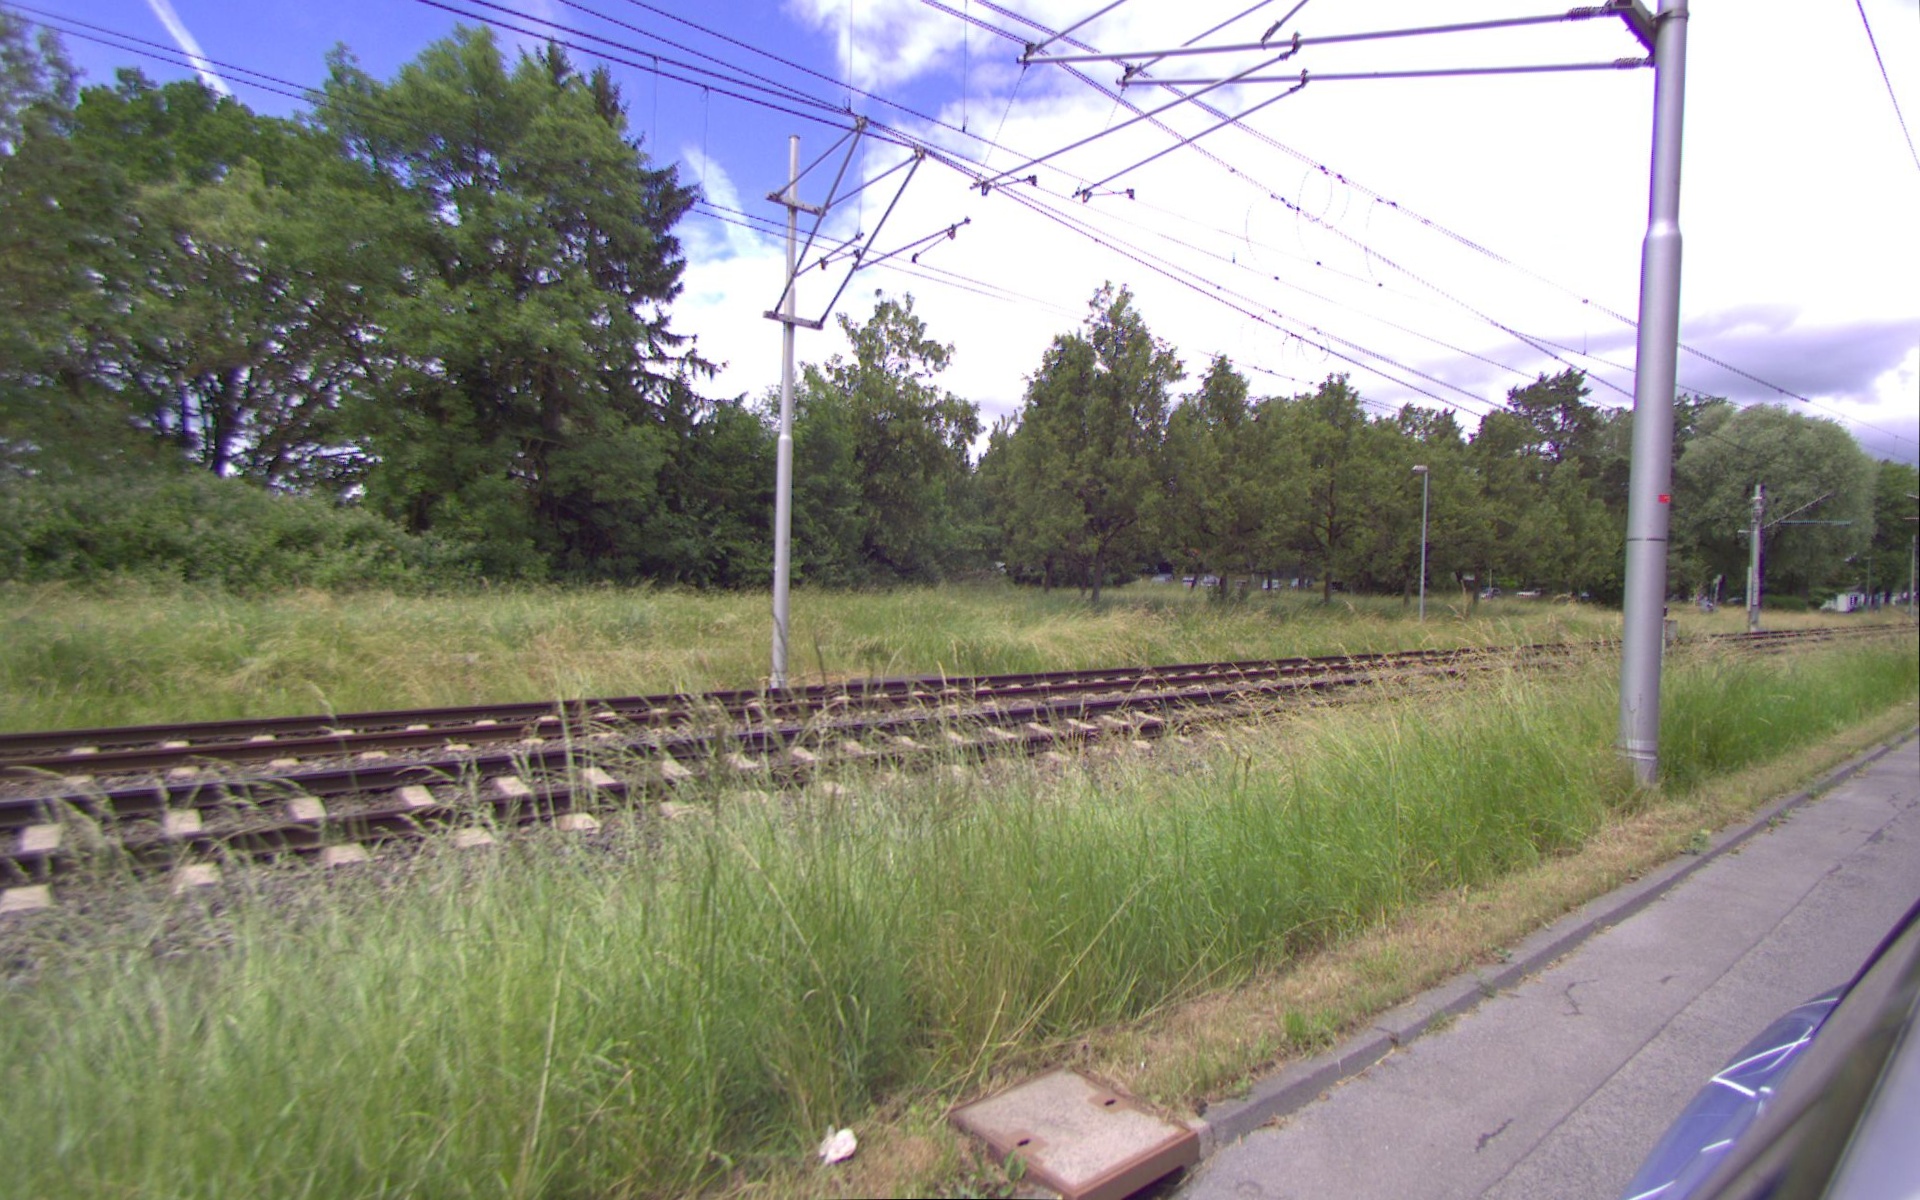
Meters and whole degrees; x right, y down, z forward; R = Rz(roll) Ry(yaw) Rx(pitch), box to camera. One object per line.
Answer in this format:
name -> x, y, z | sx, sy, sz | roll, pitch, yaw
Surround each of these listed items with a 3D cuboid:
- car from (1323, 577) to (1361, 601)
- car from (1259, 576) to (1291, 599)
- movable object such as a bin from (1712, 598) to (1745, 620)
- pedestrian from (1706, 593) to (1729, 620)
car -> 30.031, -0.834, 79.585 | 1.740, 1.826, 3.946 | 2, 1, 37
car -> 25.905, -1.052, 83.228 | 1.979, 1.835, 3.966 | 2, 1, 25
movable object such as a bin -> 50.211, 0.584, 66.136 | 1.612, 1.326, 0.660 | 1, 1, 1
pedestrian -> 49.637, 0.422, 66.322 | 0.940, 1.687, 0.658 | 1, 1, 1
